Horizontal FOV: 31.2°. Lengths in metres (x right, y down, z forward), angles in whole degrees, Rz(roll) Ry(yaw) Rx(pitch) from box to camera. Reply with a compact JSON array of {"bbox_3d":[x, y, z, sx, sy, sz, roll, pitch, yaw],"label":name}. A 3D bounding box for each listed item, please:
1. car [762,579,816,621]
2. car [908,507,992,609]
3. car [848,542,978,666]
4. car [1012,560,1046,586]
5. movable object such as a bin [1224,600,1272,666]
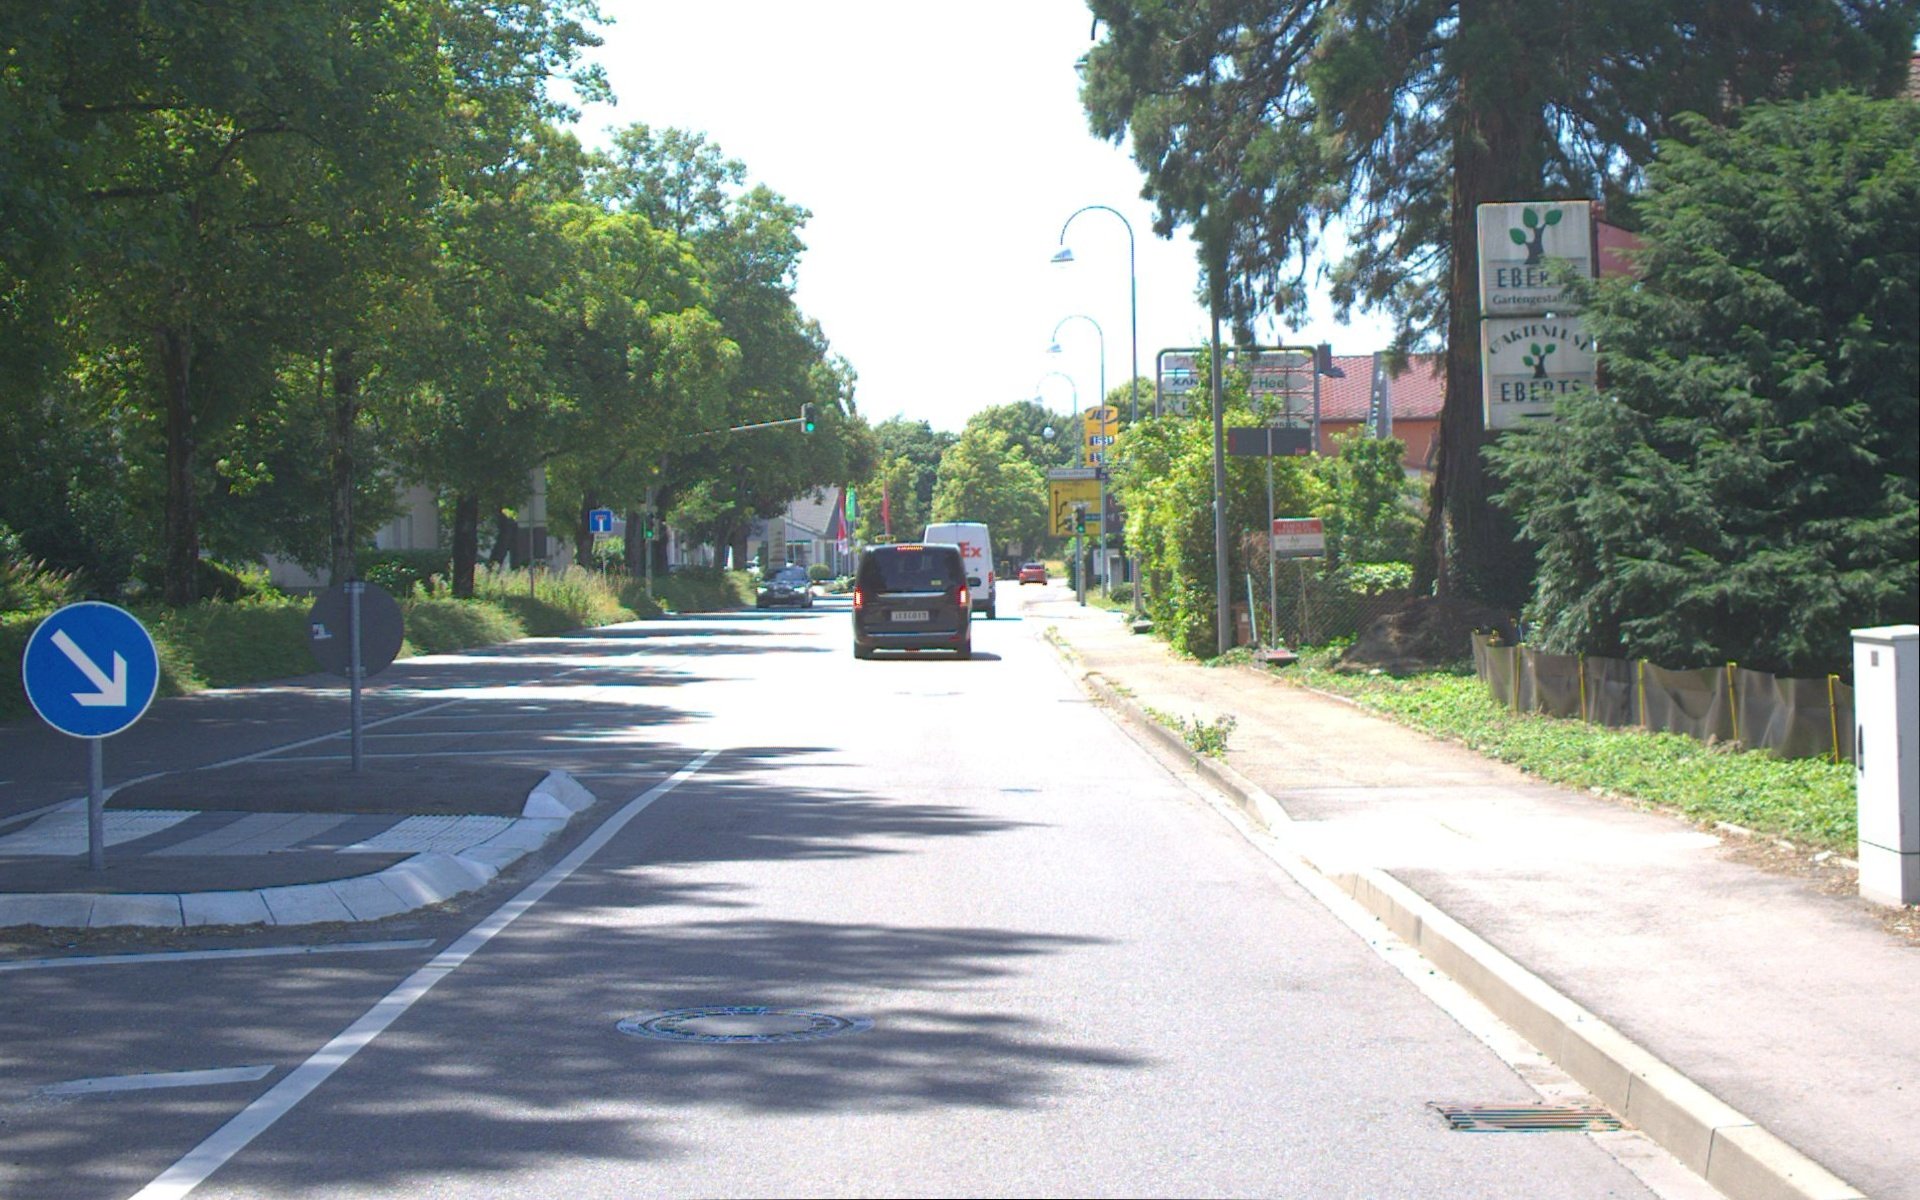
[{"bbox_3d":[-5.899,-0.007,118.968,1.721,1.422,4.148,0,0,-1],"label":"car"},{"bbox_3d":[-0.238,-1.165,93.565,2.120,2.668,5.662,1,1,1],"label":"car"},{"bbox_3d":[-0.798,0.028,55.561,1.993,1.887,4.001,0,1,-2],"label":"car"},{"bbox_3d":[4.518,-1.809,225.705,1.857,1.637,4.001,0,1,-4],"label":"car"},{"bbox_3d":[4.093,0.464,48.898,0.471,0.924,0.523,1,0,34],"label":"movable object such as a bin"}]
